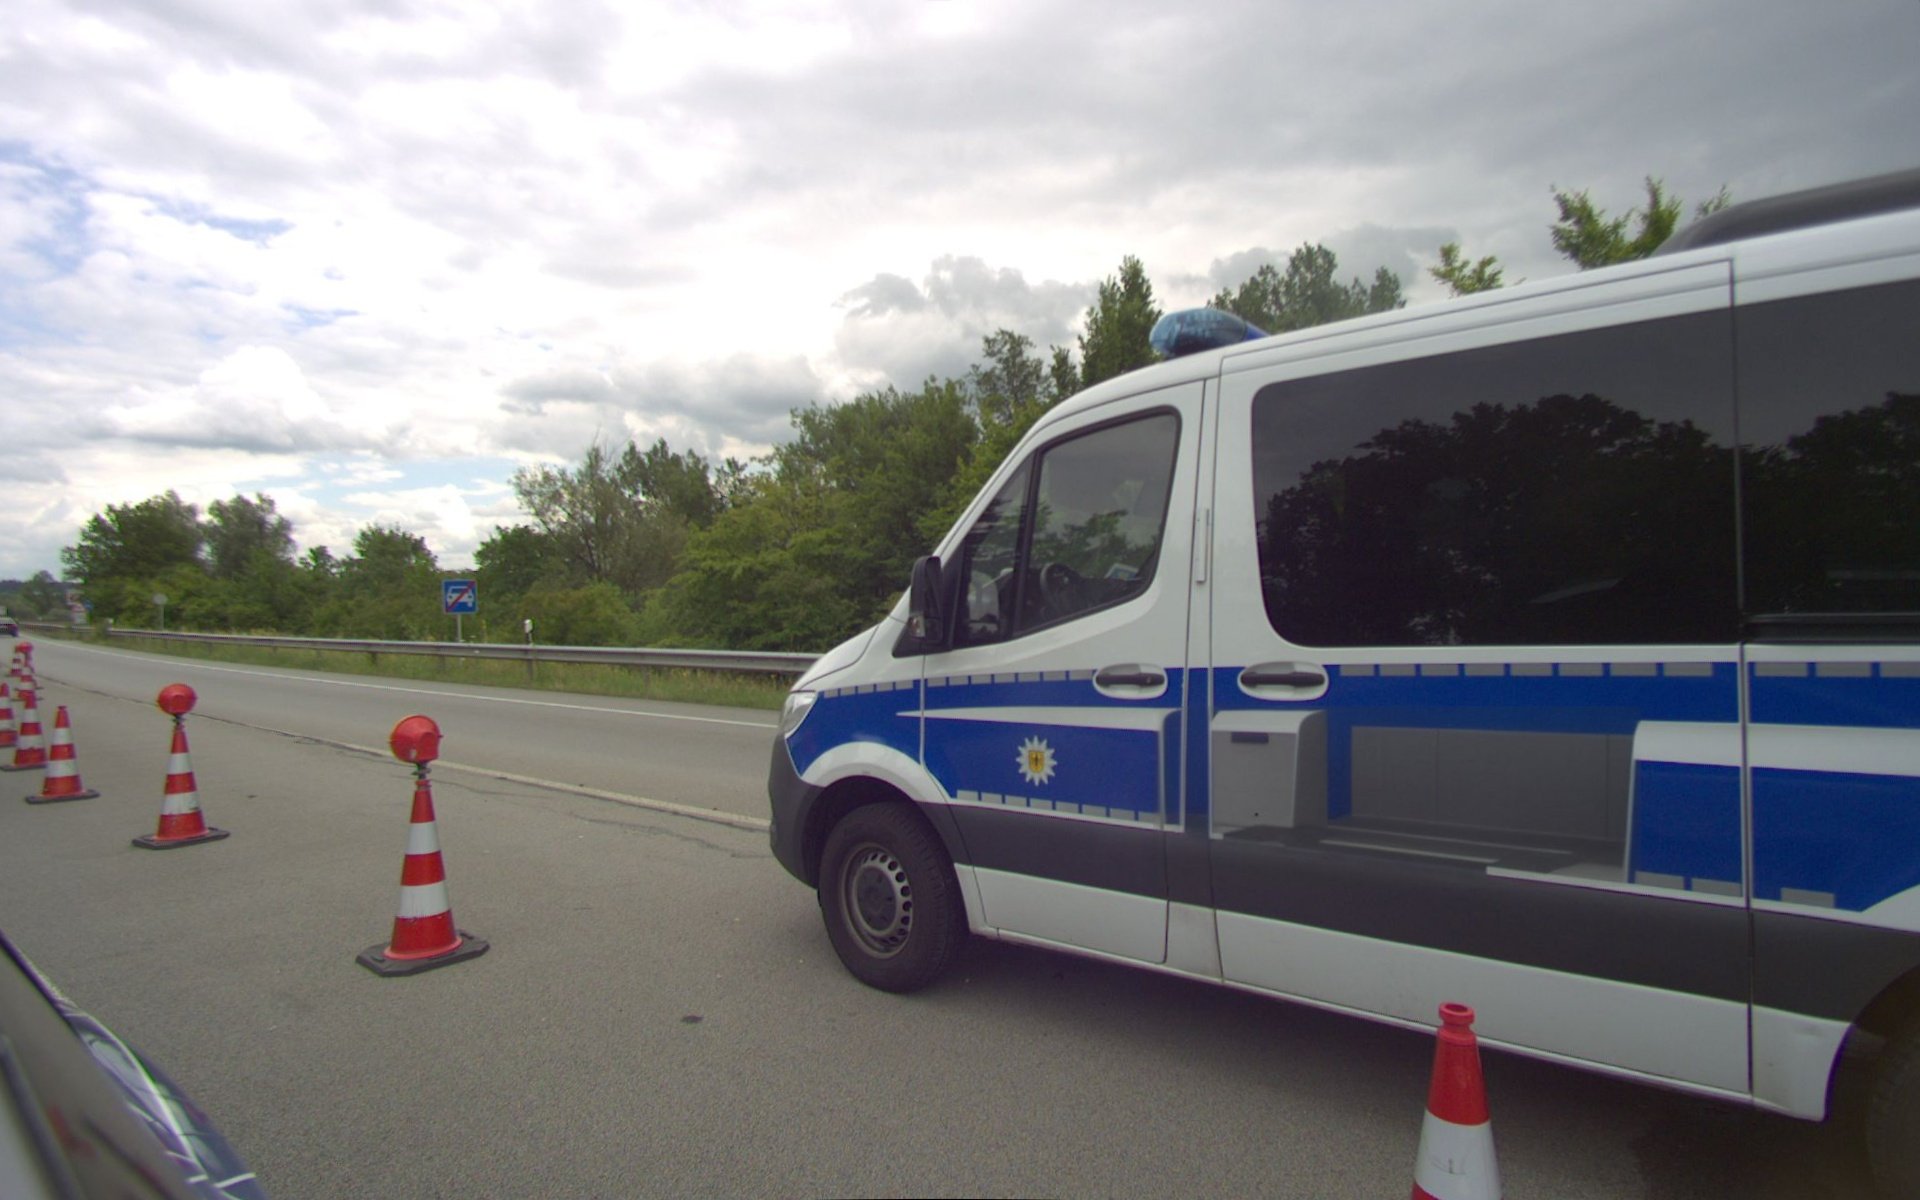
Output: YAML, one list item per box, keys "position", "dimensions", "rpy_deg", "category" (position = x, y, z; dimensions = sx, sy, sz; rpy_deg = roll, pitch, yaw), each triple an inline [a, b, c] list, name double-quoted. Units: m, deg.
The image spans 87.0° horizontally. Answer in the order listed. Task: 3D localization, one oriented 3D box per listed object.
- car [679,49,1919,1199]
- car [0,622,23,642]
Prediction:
- position: [1.451, 0.190, 3.582]
  dimensions: [5.272, 2.482, 2.009]
  rpy_deg: [-1, -1, 38]
  category: "car"
- position: [-70.563, 2.370, 74.823]
  dimensions: [4.338, 1.447, 1.689]
  rpy_deg: [-1, -1, 44]
  category: "car"
